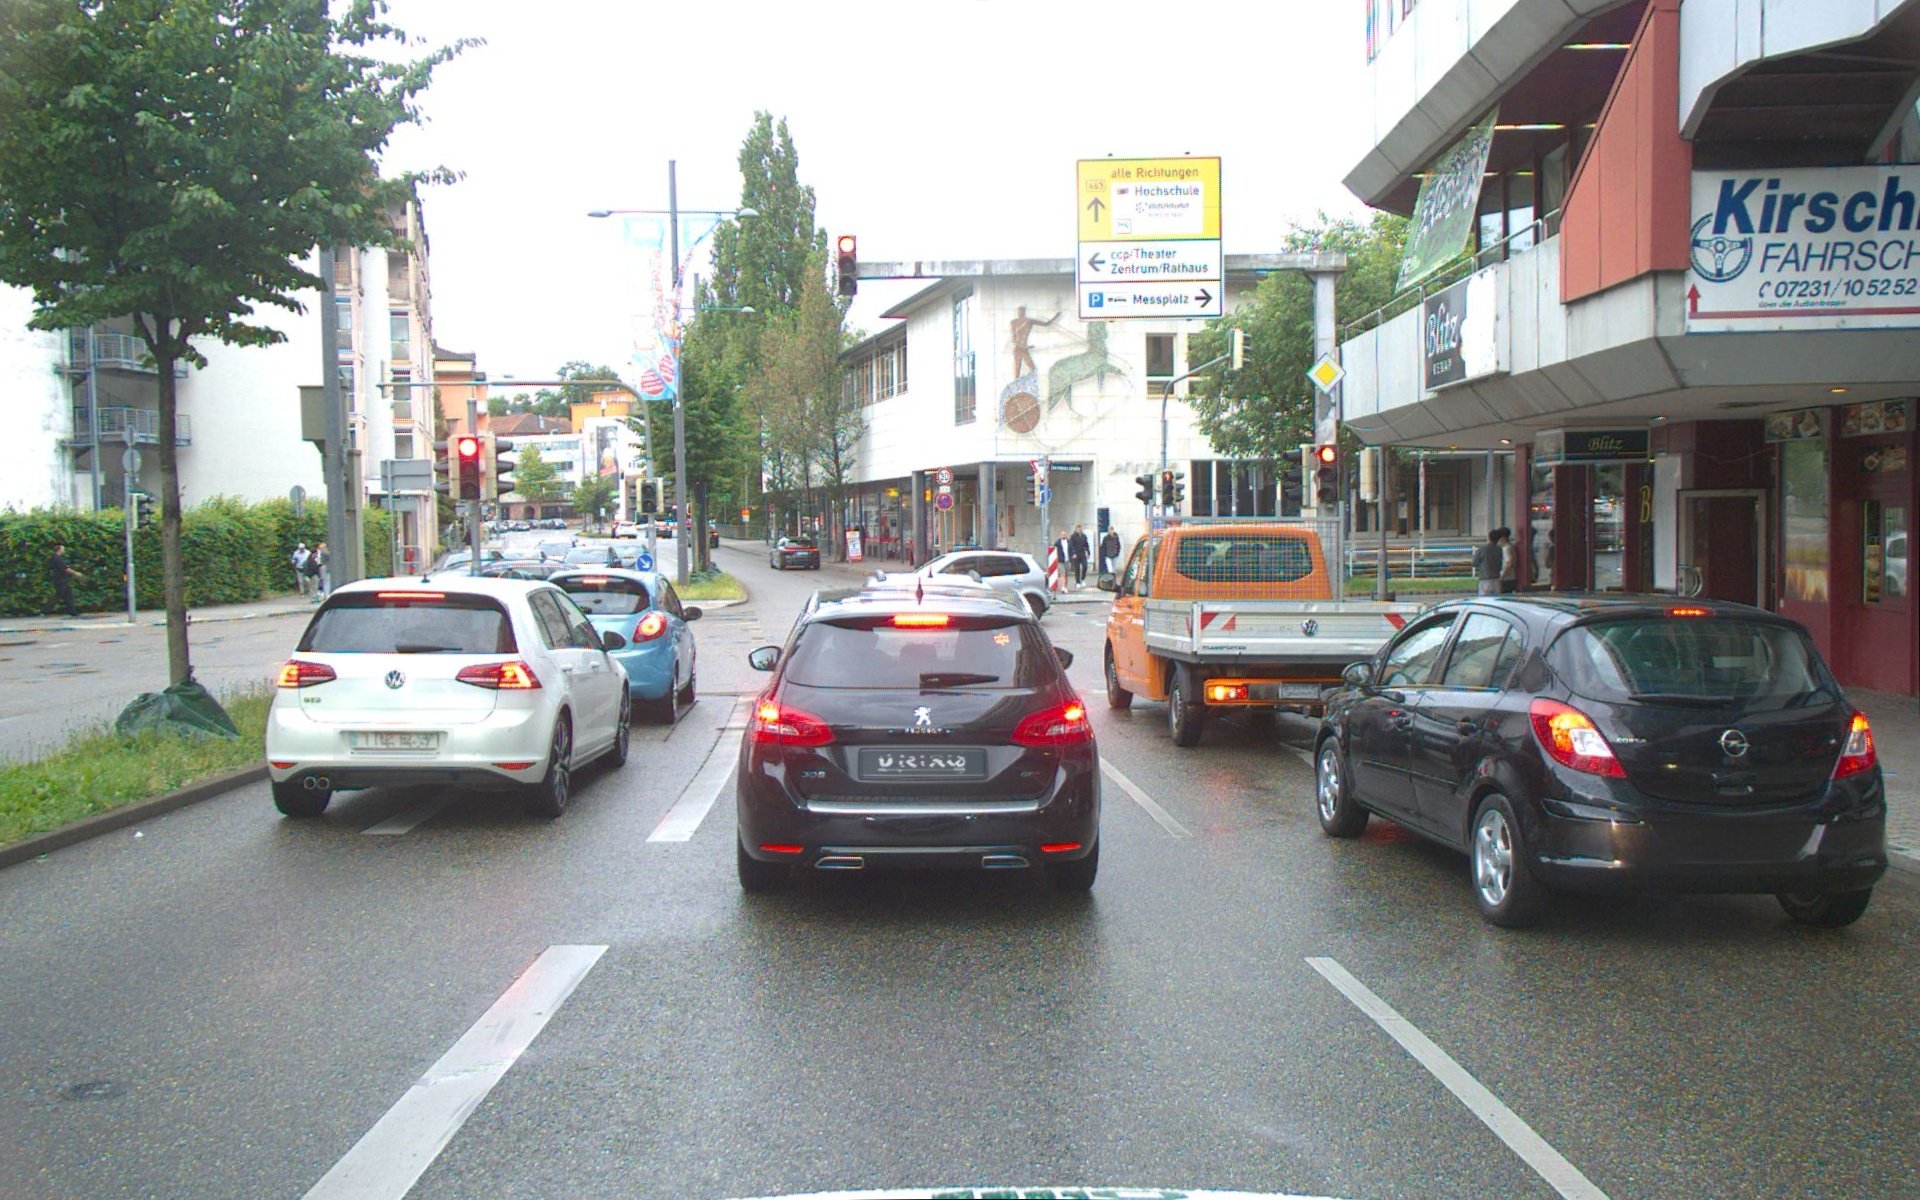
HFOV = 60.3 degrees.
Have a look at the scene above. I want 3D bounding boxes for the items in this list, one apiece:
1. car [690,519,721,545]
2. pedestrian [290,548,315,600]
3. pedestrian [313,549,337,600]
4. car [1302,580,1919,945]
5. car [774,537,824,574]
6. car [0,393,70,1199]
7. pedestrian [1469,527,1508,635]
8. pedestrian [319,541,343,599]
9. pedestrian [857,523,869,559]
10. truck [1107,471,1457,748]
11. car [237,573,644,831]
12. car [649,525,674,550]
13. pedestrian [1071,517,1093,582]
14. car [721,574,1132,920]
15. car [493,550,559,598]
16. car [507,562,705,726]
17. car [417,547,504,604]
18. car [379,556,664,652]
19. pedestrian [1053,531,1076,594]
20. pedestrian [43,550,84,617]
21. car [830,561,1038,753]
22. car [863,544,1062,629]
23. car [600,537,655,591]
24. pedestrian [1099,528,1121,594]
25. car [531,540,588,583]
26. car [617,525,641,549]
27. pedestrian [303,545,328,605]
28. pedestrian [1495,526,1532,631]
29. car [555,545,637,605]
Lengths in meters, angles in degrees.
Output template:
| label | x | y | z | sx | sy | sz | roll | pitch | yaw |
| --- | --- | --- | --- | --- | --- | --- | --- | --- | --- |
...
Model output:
| label | x | y | z | sx | sy | sz | roll | pitch | yaw |
| --- | --- | --- | --- | --- | --- | --- | --- | --- | --- |
| car | -17.718 | -4.709 | 114.892 | 1.695 | 1.516 | 4.716 | 1 | -1 | -14 |
| pedestrian | -20.837 | -0.813 | 52.426 | 0.569 | 1.627 | 0.526 | 1 | -1 | -7 |
| pedestrian | -20.515 | -0.833 | 53.458 | 0.569 | 1.627 | 0.526 | 1 | -1 | -7 |
| car | 3.096 | 0.645 | 8.672 | 1.584 | 1.454 | 3.839 | 1 | 1 | -4 |
| car | -7.325 | -2.049 | 74.922 | 1.755 | 1.479 | 4.495 | -3 | 3 | -11 |
| car | -3.037 | 0.443 | 1.447 | 1.873 | 1.903 | 5.071 | 1 | -1 | -2 |
| pedestrian | 8.446 | -0.298 | 26.420 | 0.417 | 1.712 | 0.450 | -1 | -1 | -2 |
| pedestrian | -19.472 | -0.932 | 51.178 | 0.528 | 1.778 | 0.564 | 1 | -1 | -6 |
| pedestrian | -5.002 | -3.033 | 85.232 | 0.461 | 1.778 | 0.537 | 1 | -1 | -21 |
| truck | 2.831 | 0.014 | 15.871 | 2.133 | 2.210 | 5.018 | 1 | 1 | -3 |
| car | -3.333 | 0.559 | 11.380 | 1.742 | 1.454 | 3.840 | 1 | 1 | -3 |
| car | -26.528 | -5.509 | 146.846 | 1.679 | 1.970 | 3.980 | 1 | -1 | -18 |
| pedestrian | 3.663 | -1.512 | 49.765 | 0.623 | 1.930 | 0.734 | 1 | -1 | 6 |
| car | -0.145 | 0.602 | 8.992 | 1.741 | 1.454 | 3.842 | 1 | 1 | 0 |
| car | -14.232 | -0.883 | 54.340 | 1.602 | 1.512 | 3.605 | 1 | 2 | -7 |
| car | -3.601 | 0.377 | 17.348 | 1.601 | 1.512 | 3.606 | 1 | 2 | -6 |
| car | -13.887 | -0.694 | 46.144 | 1.543 | 1.512 | 3.607 | 1 | 1 | -4 |
| car | -7.505 | 0.025 | 28.716 | 1.609 | 1.512 | 4.710 | 2 | 2 | 41 |
| pedestrian | 3.028 | -1.091 | 47.992 | 0.623 | 1.788 | 0.734 | 1 | -1 | 6 |
| pedestrian | -22.708 | -0.409 | 41.906 | 0.717 | 1.671 | 0.638 | 1 | -1 | -8 |
| car | -0.241 | 0.417 | 15.229 | 1.662 | 1.512 | 3.793 | 1 | 1 | -1 |
| car | 0.039 | -0.298 | 33.458 | 3.681 | 1.493 | 1.631 | -3 | 2 | -17 |
| car | -11.222 | -1.189 | 55.938 | 1.713 | 1.669 | 3.989 | 1 | -1 | -11 |
| pedestrian | 4.479 | -1.166 | 49.353 | 0.623 | 1.930 | 0.734 | 1 | -1 | 6 |
| car | -14.760 | -1.415 | 61.017 | 1.602 | 1.512 | 3.605 | 1 | 2 | -7 |
| car | -29.141 | -5.531 | 145.575 | 1.679 | 1.915 | 3.980 | 1 | -1 | -18 |
| pedestrian | -19.330 | -0.748 | 49.613 | 0.529 | 1.778 | 0.746 | 1 | -1 | -9 |
| pedestrian | 8.950 | -0.338 | 26.742 | 0.388 | 1.668 | 0.504 | -1 | -1 | 0 |
| car | -10.489 | -0.681 | 47.876 | 1.710 | 1.607 | 3.996 | 1 | -1 | -4 |
